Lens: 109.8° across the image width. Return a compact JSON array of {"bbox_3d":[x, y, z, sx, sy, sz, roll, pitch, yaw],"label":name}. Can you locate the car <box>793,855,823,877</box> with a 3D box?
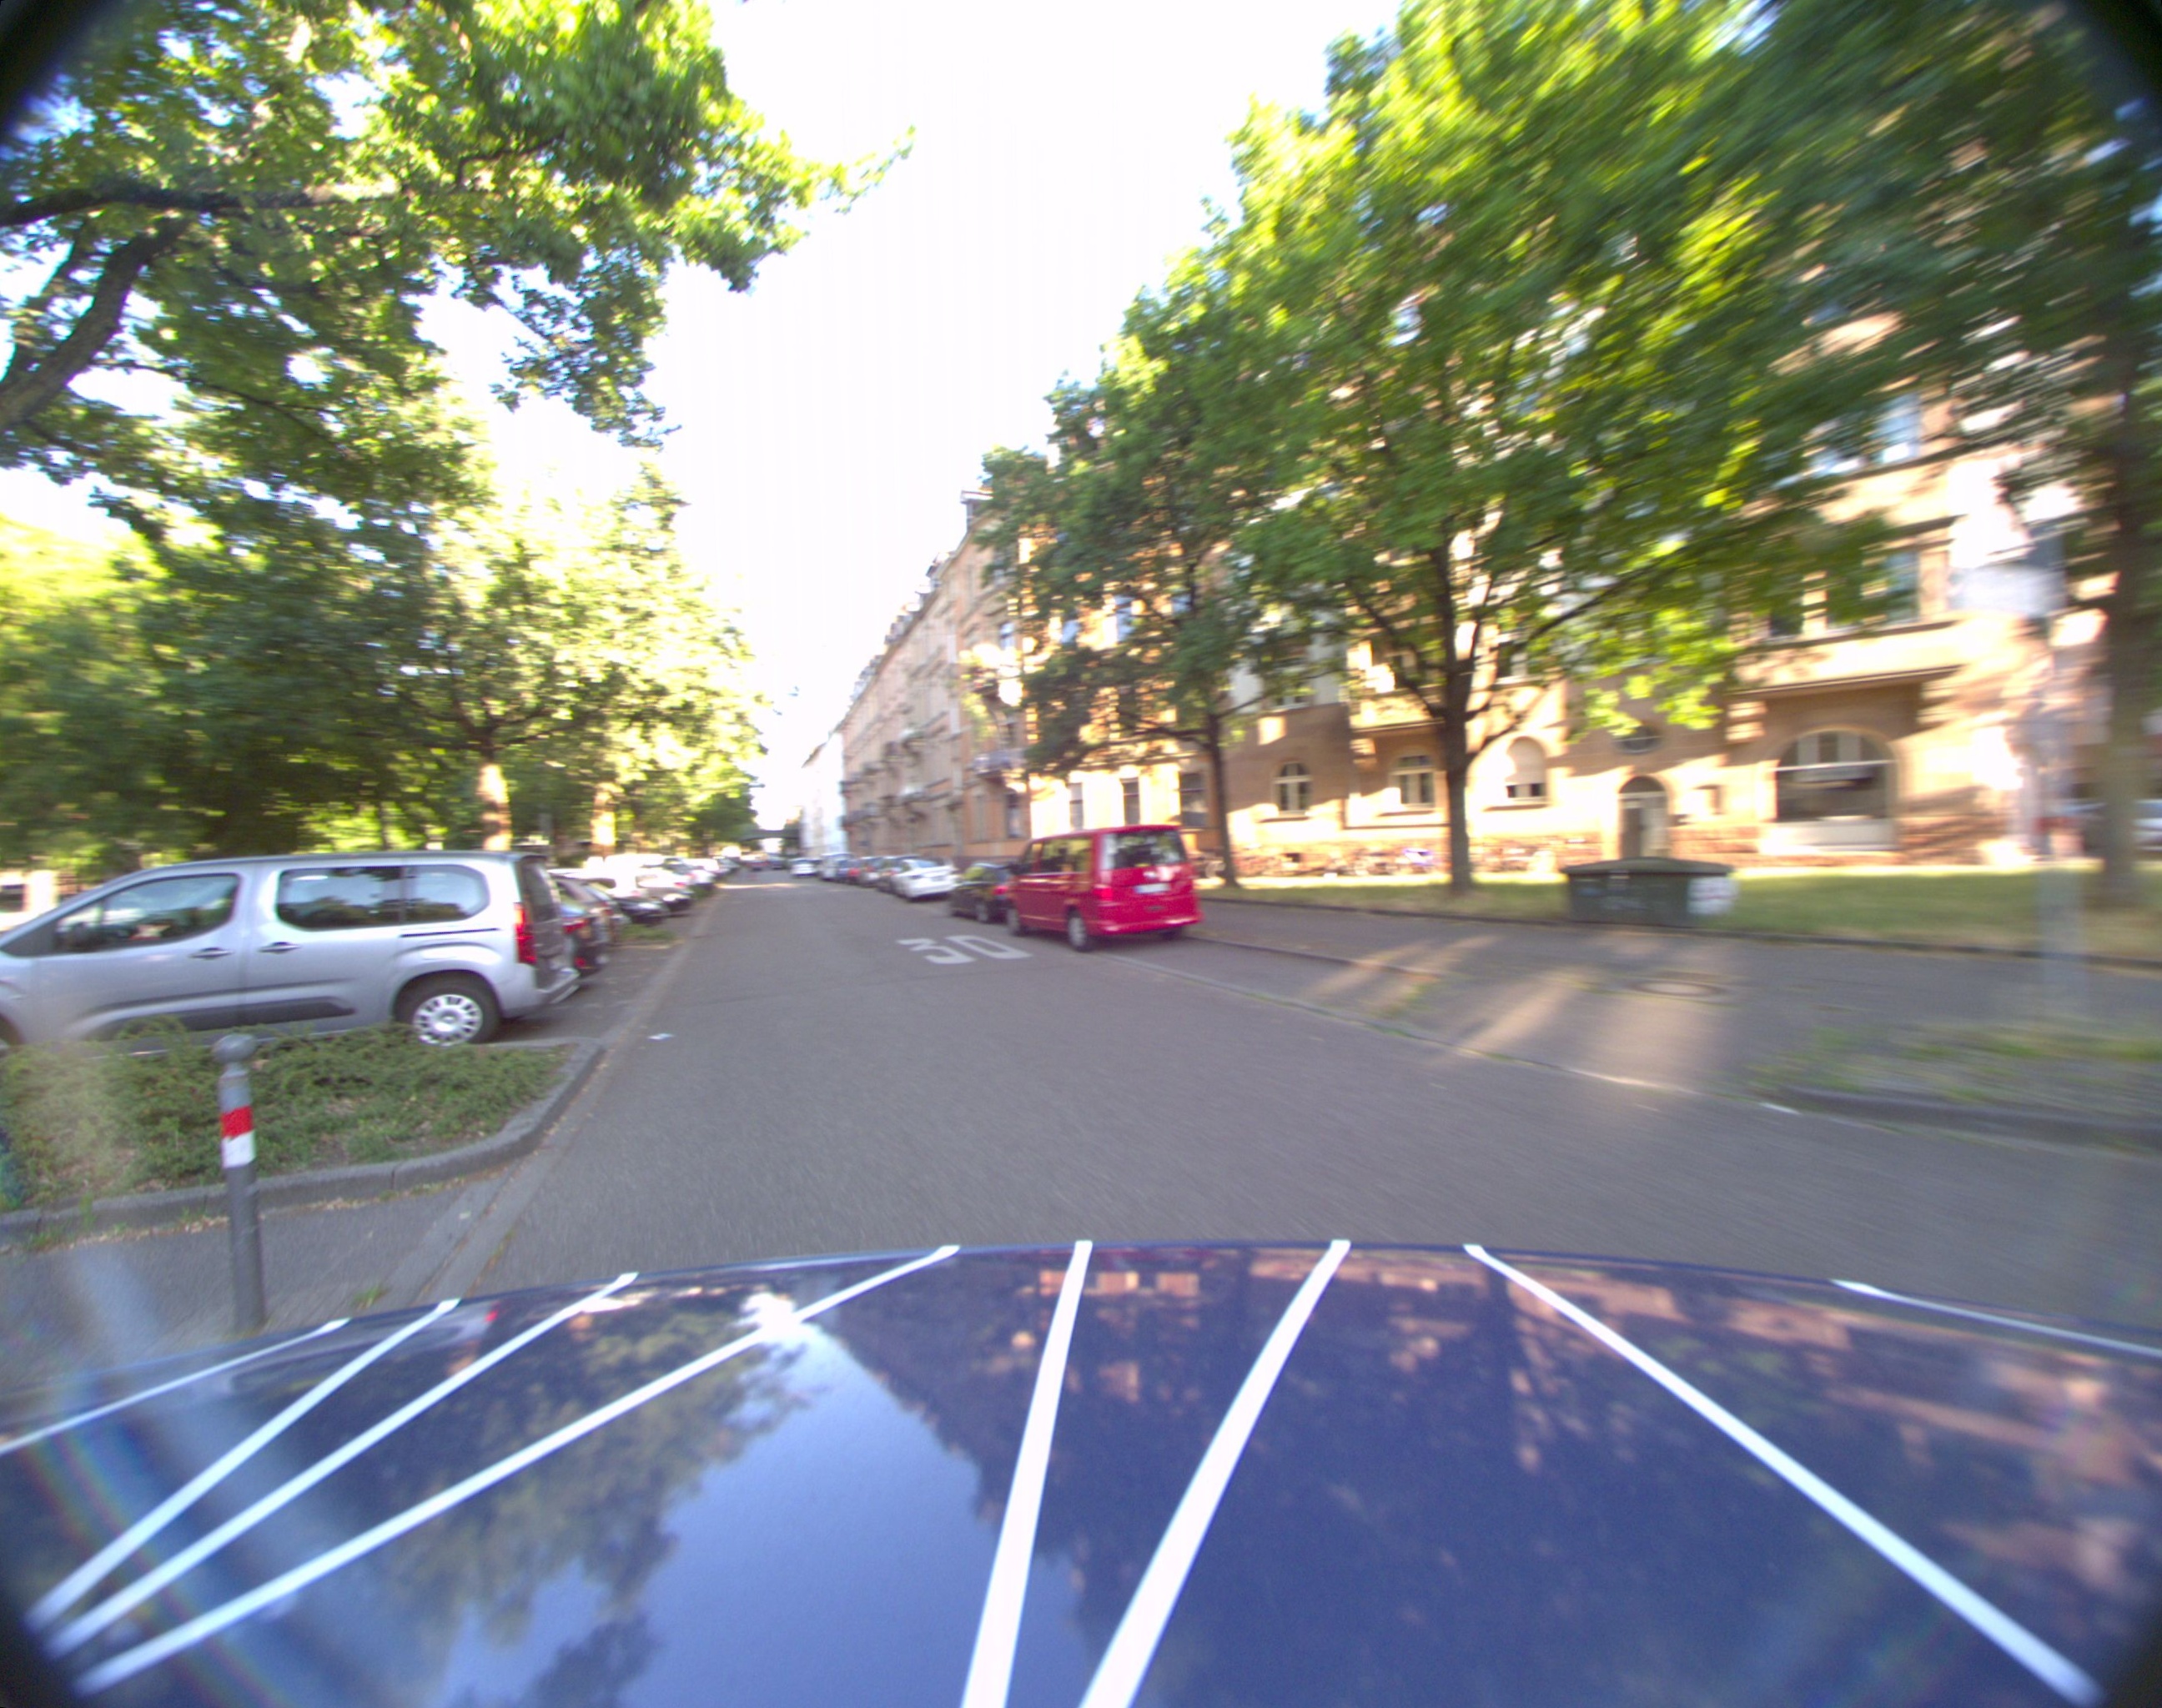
[{"bbox_3d":[-22.242,0.964,61.783,1.884,1.528,4.384,-5,2,-23],"label":"car"}]

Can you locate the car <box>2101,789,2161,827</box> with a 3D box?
[{"bbox_3d":[42.166,-1.823,28.907,3.996,1.392,1.873,-2,1,4],"label":"car"}]

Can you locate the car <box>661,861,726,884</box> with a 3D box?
[{"bbox_3d":[-27.977,1.322,54.969,4.004,1.480,1.681,-2,1,-23],"label":"car"}]

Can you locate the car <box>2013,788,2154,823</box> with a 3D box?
[{"bbox_3d":[47.555,-2.269,36.116,3.996,1.392,1.873,-2,1,4],"label":"car"}]

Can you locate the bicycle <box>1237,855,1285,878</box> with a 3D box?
[{"bbox_3d":[6.126,0.422,25.839,1.506,0.728,0.416,-2,2,31],"label":"bicycle"}]

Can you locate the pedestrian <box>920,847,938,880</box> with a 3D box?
[{"bbox_3d":[-8.263,0.495,41.208,0.676,1.708,0.720,-5,3,-23],"label":"pedestrian"}]

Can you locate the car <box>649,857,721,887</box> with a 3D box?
[{"bbox_3d":[-25.919,1.158,49.929,4.004,1.822,1.681,-2,1,-23],"label":"car"}]

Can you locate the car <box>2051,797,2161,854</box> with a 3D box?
[{"bbox_3d":[28.188,-0.796,20.174,1.868,1.392,4.007,-2,1,34],"label":"car"}]

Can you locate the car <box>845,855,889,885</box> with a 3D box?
[{"bbox_3d":[-11.762,0.827,41.608,1.770,1.376,4.282,-5,2,-22],"label":"car"}]

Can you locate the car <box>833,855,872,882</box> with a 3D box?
[{"bbox_3d":[-13.921,0.842,46.176,1.770,1.430,3.880,-5,2,-23],"label":"car"}]

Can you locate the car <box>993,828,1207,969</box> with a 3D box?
[{"bbox_3d":[0.084,0.640,13.484,1.783,1.923,4.763,-5,2,-24],"label":"car"}]

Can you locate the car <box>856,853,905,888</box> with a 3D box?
[{"bbox_3d":[-9.738,0.760,36.771,1.690,1.467,3.702,-5,2,-23],"label":"car"}]

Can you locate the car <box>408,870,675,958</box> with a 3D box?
[{"bbox_3d":[-12.457,1.312,17.978,4.720,1.564,1.996,-3,2,-21],"label":"car"}]

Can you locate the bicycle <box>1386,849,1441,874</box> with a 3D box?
[{"bbox_3d":[10.305,0.228,23.583,1.506,0.728,0.369,-2,2,31],"label":"bicycle"}]

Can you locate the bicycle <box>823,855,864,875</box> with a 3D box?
[{"bbox_3d":[-19.042,0.884,60.884,3.049,1.476,0.816,-2,1,-23],"label":"bicycle"}]

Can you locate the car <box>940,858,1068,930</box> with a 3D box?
[{"bbox_3d":[-2.032,0.878,18.781,1.783,1.426,4.262,-5,2,-24],"label":"car"}]

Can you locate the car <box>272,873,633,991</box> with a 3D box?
[{"bbox_3d":[-10.953,1.279,13.749,4.557,1.564,1.946,-3,2,-21],"label":"car"}]

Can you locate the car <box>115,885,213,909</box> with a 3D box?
[{"bbox_3d":[-58.895,2.759,48.869,3.998,1.271,1.748,-2,1,-2],"label":"car"}]

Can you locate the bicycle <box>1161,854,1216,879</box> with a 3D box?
[{"bbox_3d":[3.934,0.464,27.769,1.894,0.843,0.526,-3,1,31],"label":"bicycle"}]

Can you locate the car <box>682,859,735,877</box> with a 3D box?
[{"bbox_3d":[-34.689,1.314,70.854,4.271,1.480,1.681,-2,1,-23],"label":"car"}]

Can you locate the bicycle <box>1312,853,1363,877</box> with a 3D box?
[{"bbox_3d":[8.351,0.368,24.778,1.506,0.728,0.369,-2,2,31],"label":"bicycle"}]

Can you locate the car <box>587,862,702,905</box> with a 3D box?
[{"bbox_3d":[-18.267,1.179,31.998,4.005,1.571,1.762,-2,1,-25],"label":"car"}]

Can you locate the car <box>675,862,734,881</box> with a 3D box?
[{"bbox_3d":[-29.334,1.356,59.374,4.004,1.331,1.681,-2,1,-23],"label":"car"}]

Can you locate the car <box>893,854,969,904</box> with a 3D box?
[{"bbox_3d":[-5.313,0.805,26.491,1.783,1.467,4.263,-5,2,-21],"label":"car"}]

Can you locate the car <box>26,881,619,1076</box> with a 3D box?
[{"bbox_3d":[-8.412,1.275,9.115,4.557,1.564,1.946,-3,2,-21],"label":"car"}]

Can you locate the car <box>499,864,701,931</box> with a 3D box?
[{"bbox_3d":[-14.195,1.227,22.805,4.720,1.564,1.996,-3,2,-21],"label":"car"}]

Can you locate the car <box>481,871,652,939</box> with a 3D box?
[{"bbox_3d":[-13.634,1.312,20.366,3.412,1.505,1.716,-3,1,-21],"label":"car"}]

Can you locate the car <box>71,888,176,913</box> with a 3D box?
[{"bbox_3d":[-58.614,2.810,46.569,3.998,1.271,1.748,-2,1,-2],"label":"car"}]

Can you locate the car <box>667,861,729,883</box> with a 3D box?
[{"bbox_3d":[-28.831,1.311,57.292,4.004,1.480,1.681,-2,1,-23],"label":"car"}]

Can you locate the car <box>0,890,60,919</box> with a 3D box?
[{"bbox_3d":[-52.166,2.456,36.377,3.998,1.271,1.748,-2,1,-2],"label":"car"}]

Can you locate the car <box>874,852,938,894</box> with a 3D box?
[{"bbox_3d":[-7.236,0.751,31.165,1.691,1.467,3.874,-5,2,-25],"label":"car"}]

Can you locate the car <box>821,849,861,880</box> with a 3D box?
[{"bbox_3d":[-16.258,0.696,51.289,1.915,1.872,4.716,-5,2,-23],"label":"car"}]

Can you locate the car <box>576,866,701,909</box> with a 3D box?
[{"bbox_3d":[-17.295,1.282,29.901,4.004,1.415,1.681,-2,1,-23],"label":"car"}]

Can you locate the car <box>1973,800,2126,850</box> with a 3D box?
[{"bbox_3d":[30.814,-0.929,24.345,1.868,1.392,4.007,-2,1,34],"label":"car"}]

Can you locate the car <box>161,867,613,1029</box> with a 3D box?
[{"bbox_3d":[-9.573,1.171,11.117,4.456,1.682,1.945,-3,2,-29],"label":"car"}]

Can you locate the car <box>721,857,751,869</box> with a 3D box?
[{"bbox_3d":[-57.970,1.477,127.787,4.396,1.676,1.878,-5,2,-23],"label":"car"}]

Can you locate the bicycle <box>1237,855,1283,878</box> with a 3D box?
[{"bbox_3d":[6.185,0.442,26.302,1.506,0.728,0.369,-2,2,31],"label":"bicycle"}]

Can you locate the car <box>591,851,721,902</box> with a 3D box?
[{"bbox_3d":[-19.163,0.954,34.531,4.865,2.026,2.151,-2,1,-23],"label":"car"}]

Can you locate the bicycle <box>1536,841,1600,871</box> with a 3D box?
[{"bbox_3d":[13.802,0.062,21.569,1.506,0.728,0.369,-4,1,31],"label":"bicycle"}]

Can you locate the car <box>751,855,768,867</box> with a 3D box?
[{"bbox_3d":[-42.591,0.866,100.558,1.884,1.423,4.384,-5,2,-24],"label":"car"}]

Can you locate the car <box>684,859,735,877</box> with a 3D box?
[{"bbox_3d":[-35.630,1.317,72.954,4.271,1.480,1.681,-2,1,-23],"label":"car"}]

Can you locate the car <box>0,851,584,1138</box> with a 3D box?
[{"bbox_3d":[-7.315,1.035,6.642,4.557,1.904,1.946,-3,2,-21],"label":"car"}]

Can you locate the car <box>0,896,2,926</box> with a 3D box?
[{"bbox_3d":[-48.731,2.540,31.944,3.998,1.271,1.748,-2,1,-2],"label":"car"}]

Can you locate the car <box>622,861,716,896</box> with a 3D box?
[{"bbox_3d":[-20.803,1.202,38.533,4.004,1.545,1.681,-2,1,-23],"label":"car"}]

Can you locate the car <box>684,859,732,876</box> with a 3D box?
[{"bbox_3d":[-36.901,1.334,75.303,4.138,1.480,1.681,-2,1,-23],"label":"car"}]

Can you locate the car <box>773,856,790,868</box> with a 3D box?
[{"bbox_3d":[-41.761,1.077,105.874,1.884,1.433,4.384,-5,2,-23],"label":"car"}]

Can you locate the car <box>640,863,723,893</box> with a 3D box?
[{"bbox_3d":[-22.668,1.314,43.288,4.004,1.480,1.681,-2,1,-23],"label":"car"}]

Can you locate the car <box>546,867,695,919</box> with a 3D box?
[{"bbox_3d":[-15.184,1.252,25.318,4.004,1.452,1.681,-2,1,-23],"label":"car"}]

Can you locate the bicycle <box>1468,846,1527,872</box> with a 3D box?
[{"bbox_3d":[12.360,0.159,22.586,1.506,0.728,0.369,-2,2,31],"label":"bicycle"}]

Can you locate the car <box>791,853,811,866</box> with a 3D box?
[{"bbox_3d":[-33.902,0.641,91.993,1.884,1.433,4.384,-5,2,-23],"label":"car"}]

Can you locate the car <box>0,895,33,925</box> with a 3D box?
[{"bbox_3d":[-50.705,2.609,34.335,3.998,1.271,1.748,-2,1,-2],"label":"car"}]

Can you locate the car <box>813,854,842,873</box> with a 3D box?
[{"bbox_3d":[-21.803,0.763,65.221,1.884,1.433,4.384,-5,2,-23],"label":"car"}]

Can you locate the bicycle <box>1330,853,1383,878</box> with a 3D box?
[{"bbox_3d":[8.728,0.363,24.095,1.506,0.728,0.369,-2,2,31],"label":"bicycle"}]

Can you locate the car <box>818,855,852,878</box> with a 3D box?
[{"bbox_3d":[-18.383,0.904,56.616,1.884,1.433,4.384,-5,2,-23],"label":"car"}]
